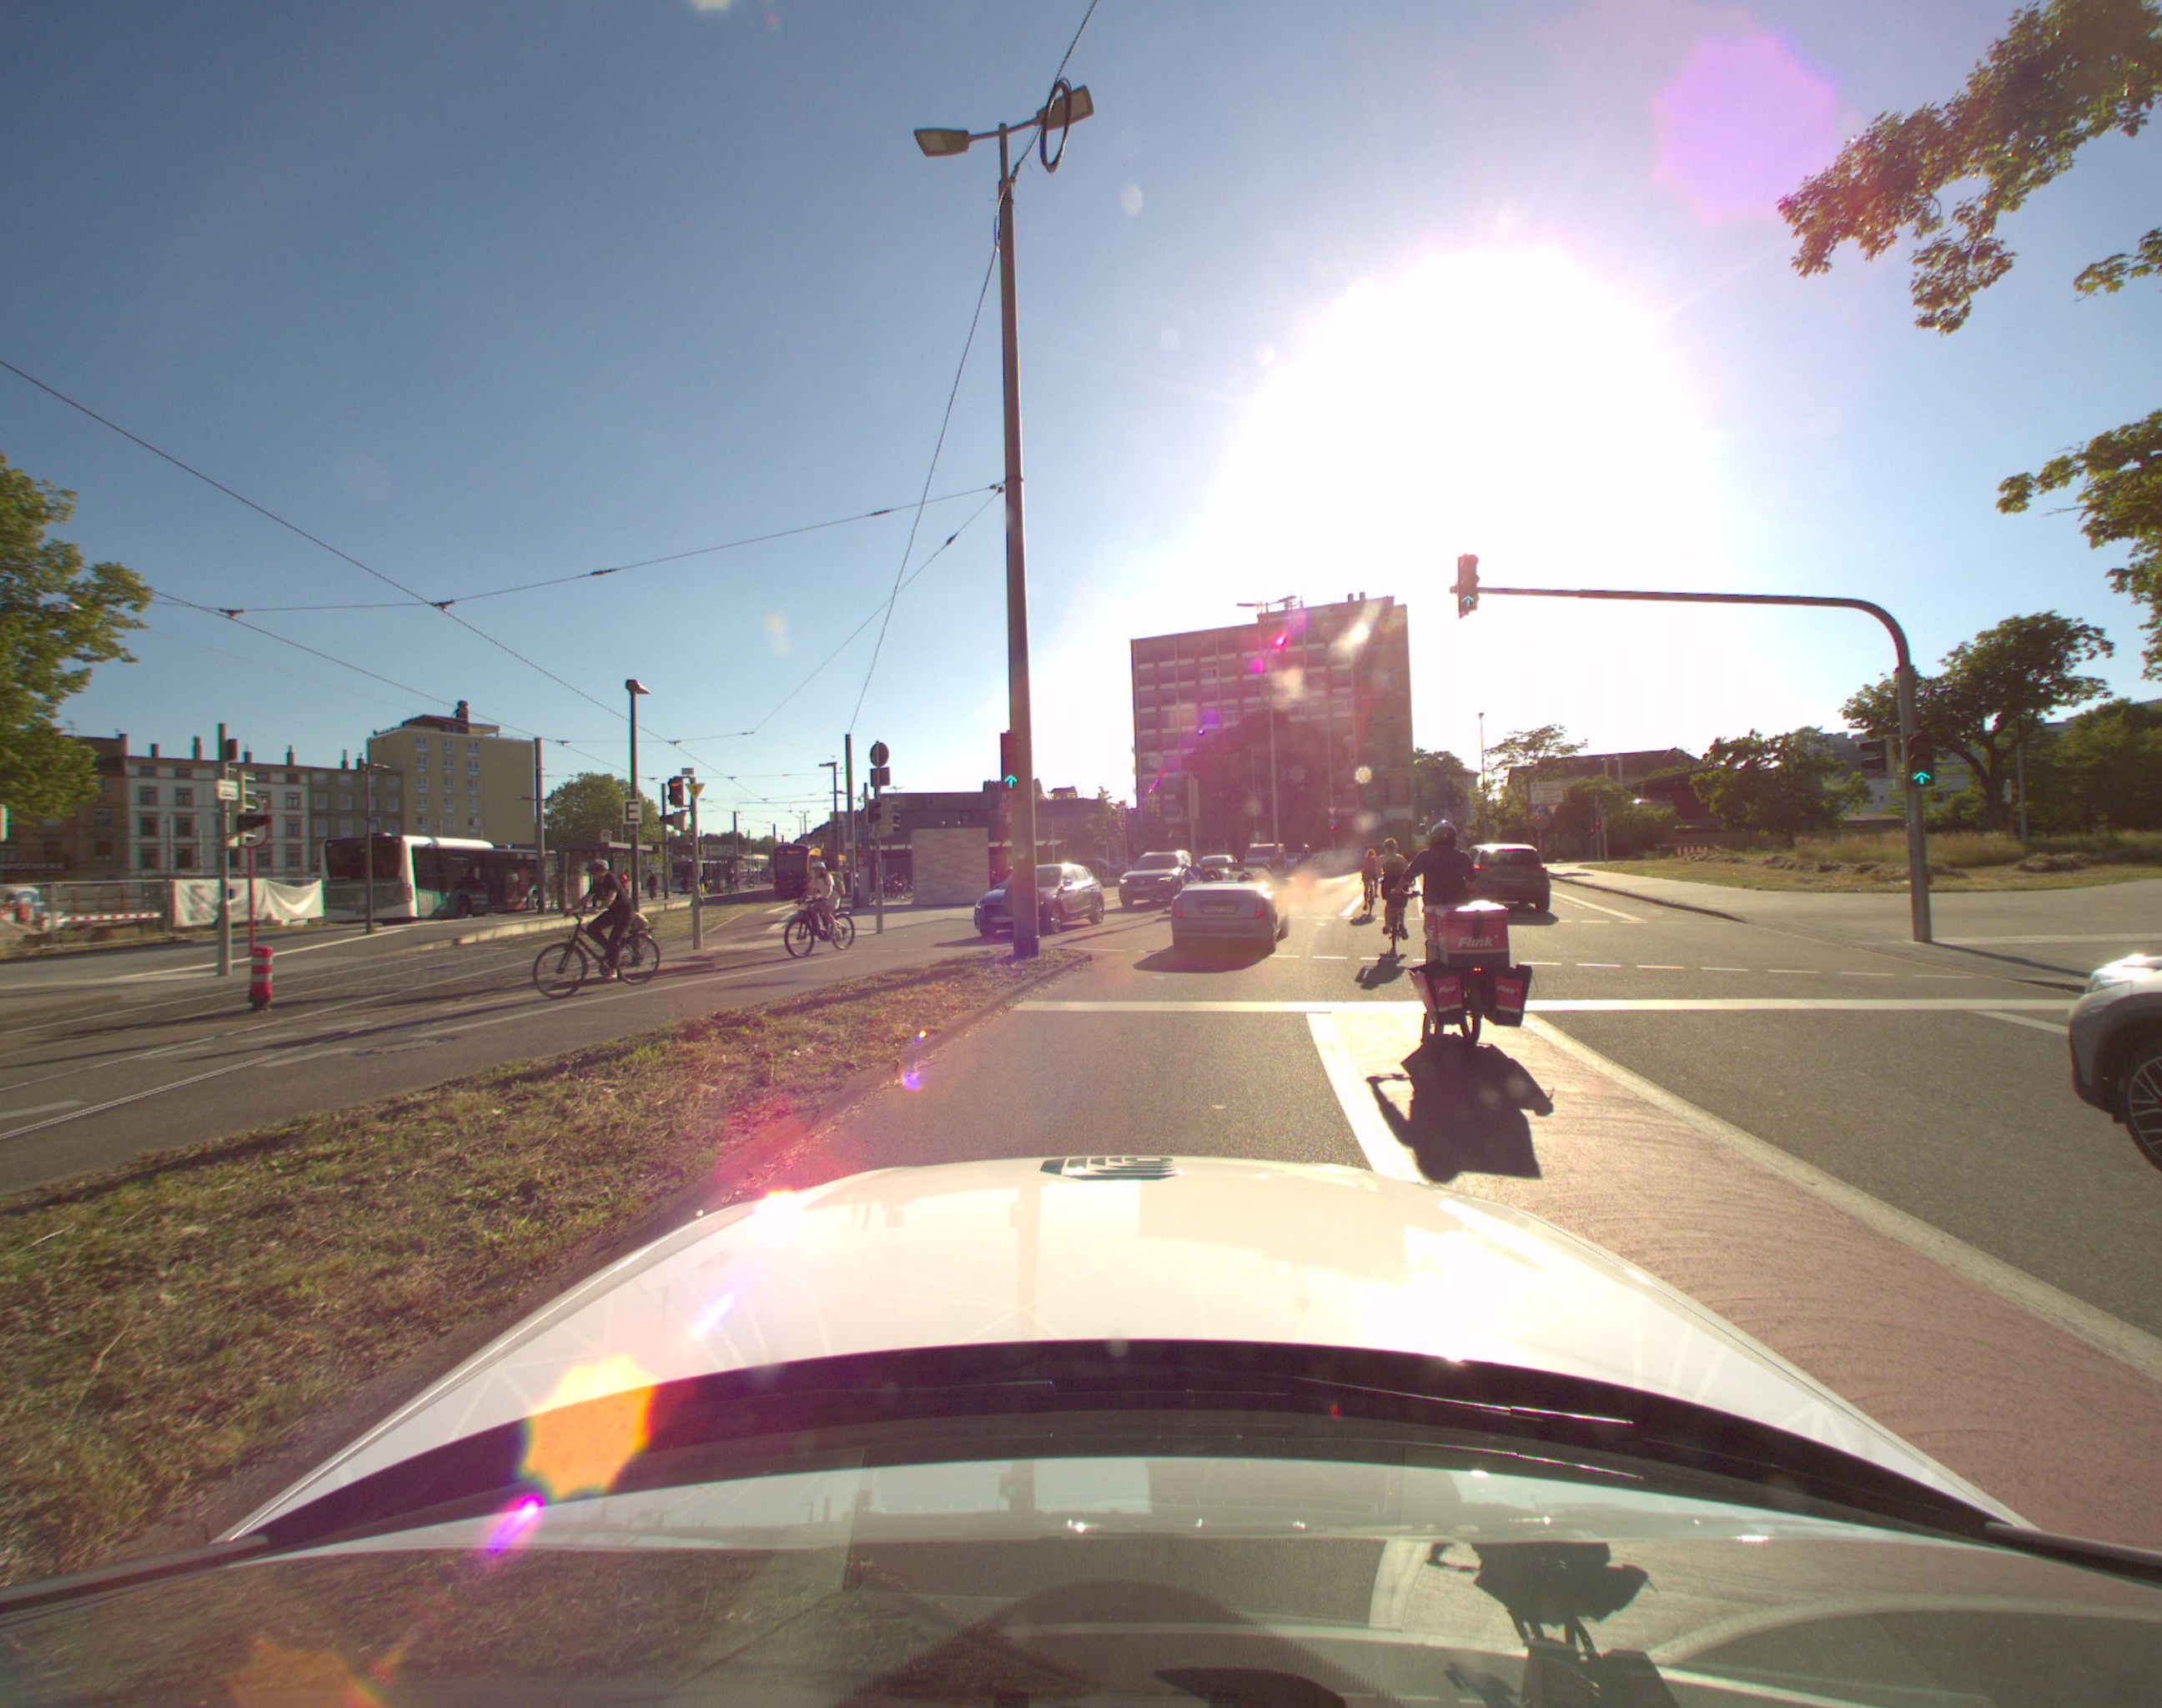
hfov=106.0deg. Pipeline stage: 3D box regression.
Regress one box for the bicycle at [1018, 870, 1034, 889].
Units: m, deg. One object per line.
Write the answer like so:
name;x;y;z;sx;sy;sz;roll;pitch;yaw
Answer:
bicycle;-3.257;1.490;48.202;0.607;1.115;1.888;0;-1;-13

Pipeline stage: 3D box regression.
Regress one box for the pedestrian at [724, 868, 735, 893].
pedestrian;-25.221;1.903;58.476;0.641;1.749;0.567;-2;-1;-28

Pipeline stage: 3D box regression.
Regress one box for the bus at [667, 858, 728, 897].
bus;-34.497;2.043;73.772;2.726;3.274;13.393;0;-1;-15

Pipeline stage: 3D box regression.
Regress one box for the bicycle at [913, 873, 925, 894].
bicycle;-8.963;1.601;45.095;0.607;1.115;1.888;0;-1;-13

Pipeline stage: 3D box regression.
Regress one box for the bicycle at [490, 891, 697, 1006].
bicycle;-6.488;1.212;11.055;0.668;1.250;2.469;-5;-2;20

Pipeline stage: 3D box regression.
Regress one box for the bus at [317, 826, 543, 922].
bus;-24.693;0.726;31.759;2.655;3.136;9.606;0;-1;-11

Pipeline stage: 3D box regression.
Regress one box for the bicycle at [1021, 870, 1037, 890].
bicycle;-2.981;1.481;46.240;0.607;1.115;1.888;0;-1;-13

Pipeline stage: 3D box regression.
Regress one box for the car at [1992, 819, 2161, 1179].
car;5.439;0.624;2.104;1.776;1.594;4.340;0;-1;9

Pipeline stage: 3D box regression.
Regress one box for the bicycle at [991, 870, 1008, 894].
bicycle;-4.006;1.371;40.058;0.607;1.115;1.888;0;-1;-13

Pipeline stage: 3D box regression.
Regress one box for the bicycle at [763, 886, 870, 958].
bicycle;-4.935;1.244;15.382;0.668;1.180;2.194;-3;-1;21

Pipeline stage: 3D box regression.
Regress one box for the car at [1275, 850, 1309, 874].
car;15.026;0.550;57.815;1.783;1.530;4.021;-3;-1;21

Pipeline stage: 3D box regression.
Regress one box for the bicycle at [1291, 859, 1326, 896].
bicycle;7.665;0.781;27.377;0.602;1.191;2.429;-1;-1;29

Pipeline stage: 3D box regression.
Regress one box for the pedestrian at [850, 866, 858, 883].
pedestrian;-23.461;2.109;84.168;0.604;1.749;0.829;-2;-1;-9

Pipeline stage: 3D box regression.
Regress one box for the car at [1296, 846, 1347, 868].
car;19.566;0.228;66.118;4.017;1.530;1.785;-2;-1;-35

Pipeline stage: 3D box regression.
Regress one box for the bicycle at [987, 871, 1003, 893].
bicycle;-4.446;1.417;42.119;0.607;1.115;1.888;0;-1;-13

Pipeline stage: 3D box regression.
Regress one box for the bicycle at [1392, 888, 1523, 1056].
bicycle;3.234;0.917;7.202;0.550;1.171;2.380;0;-1;13

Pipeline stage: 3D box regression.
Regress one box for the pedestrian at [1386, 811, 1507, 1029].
pedestrian;3.336;0.571;7.523;0.801;1.869;0.959;0;-1;11

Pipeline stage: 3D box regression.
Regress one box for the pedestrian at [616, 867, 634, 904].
pedestrian;-21.855;1.496;39.043;0.572;1.749;0.636;-2;-1;-18

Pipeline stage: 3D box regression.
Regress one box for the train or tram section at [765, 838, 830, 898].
train or tram section;-18.933;0.942;55.107;2.884;3.597;12.143;0;-1;-13

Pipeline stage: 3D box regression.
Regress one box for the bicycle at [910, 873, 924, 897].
bicycle;-7.891;1.463;39.197;0.607;1.115;1.888;0;-1;-13

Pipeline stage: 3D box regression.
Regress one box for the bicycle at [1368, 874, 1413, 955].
bicycle;4.839;0.901;12.805;0.559;1.151;1.958;-1;-1;18

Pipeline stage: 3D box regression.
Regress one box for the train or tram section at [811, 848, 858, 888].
train or tram section;-23.676;1.348;78.851;3.041;3.597;12.007;0;-1;-10

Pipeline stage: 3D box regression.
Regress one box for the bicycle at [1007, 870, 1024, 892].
bicycle;-3.415;1.402;42.151;0.607;1.115;1.888;0;-1;-13

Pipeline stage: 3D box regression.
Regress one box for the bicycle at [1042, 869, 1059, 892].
bicycle;-1.538;1.309;40.589;0.607;1.115;1.889;0;-1;-11

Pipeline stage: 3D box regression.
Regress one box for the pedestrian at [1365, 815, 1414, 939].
pedestrian;4.825;0.353;12.796;0.653;1.869;0.876;-1;-1;18

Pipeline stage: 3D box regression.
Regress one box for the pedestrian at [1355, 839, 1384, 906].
pedestrian;7.101;0.459;20.062;0.583;1.598;1.029;-1;-1;15

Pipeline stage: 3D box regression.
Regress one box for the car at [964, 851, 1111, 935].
car;-0.832;0.827;18.166;1.722;1.574;3.944;-5;-2;20

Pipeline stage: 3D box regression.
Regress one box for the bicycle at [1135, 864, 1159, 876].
bicycle;6.687;1.607;82.565;2.384;1.191;0.613;-1;-1;29

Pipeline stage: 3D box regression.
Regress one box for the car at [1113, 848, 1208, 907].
car;2.692;0.712;26.632;1.746;1.706;4.554;-4;-1;22

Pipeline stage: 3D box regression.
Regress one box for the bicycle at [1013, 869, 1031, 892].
bicycle;-2.938;1.310;40.238;0.607;1.115;1.888;0;-1;-13

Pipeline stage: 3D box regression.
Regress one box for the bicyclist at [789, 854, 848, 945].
bicyclist;-4.956;0.852;15.386;0.703;1.657;0.747;-3;-1;20

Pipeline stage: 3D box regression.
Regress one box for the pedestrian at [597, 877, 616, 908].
pedestrian;-21.277;1.726;36.488;0.617;1.340;0.438;-2;-1;-19

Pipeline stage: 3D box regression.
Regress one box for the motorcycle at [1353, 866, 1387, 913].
motorcycle;7.143;0.843;20.216;0.609;1.098;2.369;-1;-1;15

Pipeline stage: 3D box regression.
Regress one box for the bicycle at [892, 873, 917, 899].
bicycle;-8.067;1.457;37.255;0.604;1.115;1.899;0;-1;5

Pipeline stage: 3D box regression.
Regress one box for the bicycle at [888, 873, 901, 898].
bicycle;-8.907;1.495;38.830;0.607;1.115;1.888;0;-1;-13

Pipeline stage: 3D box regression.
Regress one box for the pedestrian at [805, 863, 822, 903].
pedestrian;-11.985;1.296;36.522;0.640;1.749;0.568;-2;-1;-20

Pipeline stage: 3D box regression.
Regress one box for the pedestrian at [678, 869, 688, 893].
pedestrian;-29.464;2.010;60.309;0.572;1.749;0.635;-2;-1;-21

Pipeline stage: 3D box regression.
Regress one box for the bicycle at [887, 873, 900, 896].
bicycle;-9.368;1.528;40.738;0.607;1.115;1.889;0;-1;-12

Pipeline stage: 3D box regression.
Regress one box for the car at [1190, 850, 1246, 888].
car;6.159;0.627;36.346;1.680;1.560;4.000;-2;-1;20

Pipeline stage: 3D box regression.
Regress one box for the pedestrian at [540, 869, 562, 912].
pedestrian;-22.183;1.509;34.094;0.537;1.749;0.558;-2;-1;-7

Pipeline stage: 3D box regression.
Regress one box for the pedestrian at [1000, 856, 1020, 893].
pedestrian;-3.627;1.030;41.497;0.902;1.869;0.684;0;-1;-14

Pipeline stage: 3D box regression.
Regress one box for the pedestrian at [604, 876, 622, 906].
pedestrian;-21.367;1.682;37.193;0.572;1.346;0.636;-2;-1;-18

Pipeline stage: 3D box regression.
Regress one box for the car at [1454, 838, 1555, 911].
car;10.942;0.507;21.314;1.816;1.689;4.391;-1;-1;21

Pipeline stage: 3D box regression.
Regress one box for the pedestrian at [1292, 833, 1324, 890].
pedestrian;7.636;0.251;27.398;0.825;1.869;0.926;-1;-1;28

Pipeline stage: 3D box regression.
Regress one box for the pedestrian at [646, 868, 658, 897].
pedestrian;-26.062;1.725;49.471;0.641;1.749;0.567;-2;-1;-28

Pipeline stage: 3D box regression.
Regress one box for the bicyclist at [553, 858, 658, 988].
bicyclist;-6.488;0.917;11.141;0.703;1.657;0.905;-5;-2;20

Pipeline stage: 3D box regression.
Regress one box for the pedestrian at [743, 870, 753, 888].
pedestrian;-34.000;2.543;83.137;0.733;1.749;0.638;-2;-1;-9

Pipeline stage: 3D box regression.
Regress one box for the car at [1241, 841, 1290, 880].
car;10.238;0.332;44.990;1.892;1.945;4.730;-4;-1;20

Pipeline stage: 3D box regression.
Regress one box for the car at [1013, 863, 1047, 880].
car;-5.258;1.807;83.369;1.653;1.560;3.557;-2;-1;-41

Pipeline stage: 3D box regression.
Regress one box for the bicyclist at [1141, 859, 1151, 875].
bicyclist;6.588;1.344;82.626;0.744;1.598;0.593;-1;-1;29

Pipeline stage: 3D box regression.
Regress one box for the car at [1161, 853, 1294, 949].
car;2.730;0.735;14.405;1.646;1.441;4.174;-1;-1;20

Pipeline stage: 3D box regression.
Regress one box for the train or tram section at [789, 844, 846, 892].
train or tram section;-21.442;1.152;67.006;3.013;3.597;12.151;0;-1;-11
